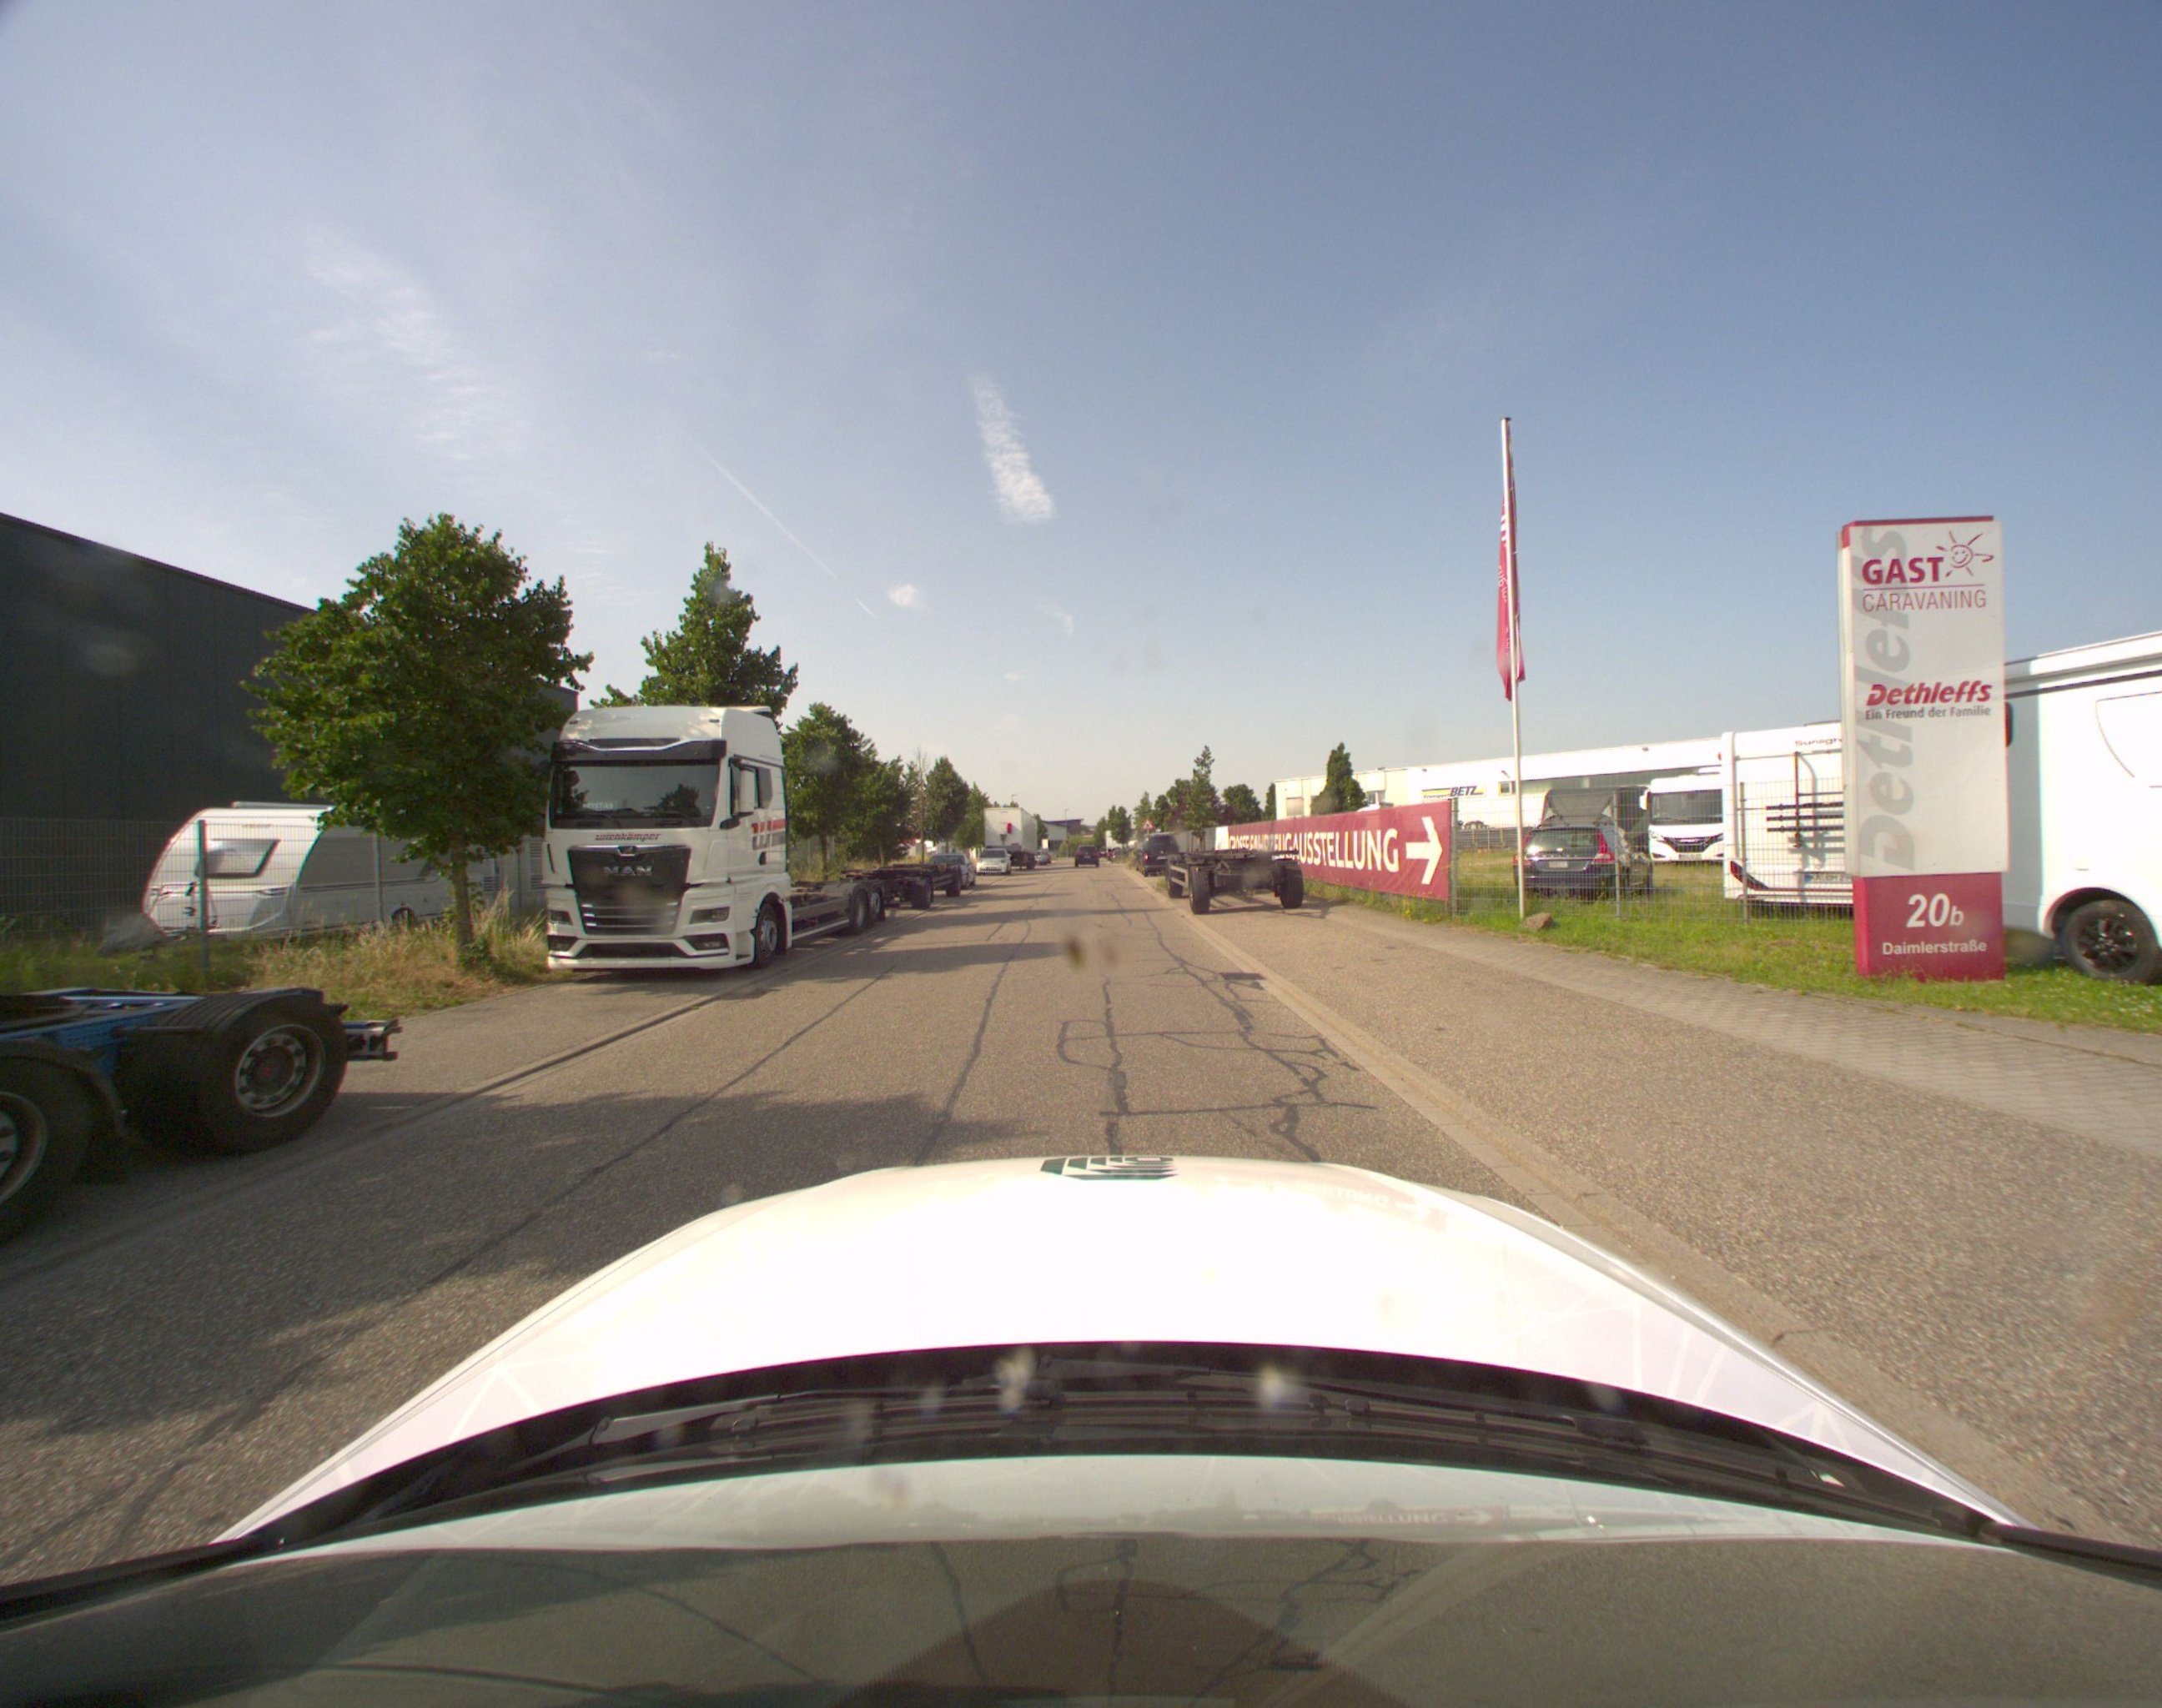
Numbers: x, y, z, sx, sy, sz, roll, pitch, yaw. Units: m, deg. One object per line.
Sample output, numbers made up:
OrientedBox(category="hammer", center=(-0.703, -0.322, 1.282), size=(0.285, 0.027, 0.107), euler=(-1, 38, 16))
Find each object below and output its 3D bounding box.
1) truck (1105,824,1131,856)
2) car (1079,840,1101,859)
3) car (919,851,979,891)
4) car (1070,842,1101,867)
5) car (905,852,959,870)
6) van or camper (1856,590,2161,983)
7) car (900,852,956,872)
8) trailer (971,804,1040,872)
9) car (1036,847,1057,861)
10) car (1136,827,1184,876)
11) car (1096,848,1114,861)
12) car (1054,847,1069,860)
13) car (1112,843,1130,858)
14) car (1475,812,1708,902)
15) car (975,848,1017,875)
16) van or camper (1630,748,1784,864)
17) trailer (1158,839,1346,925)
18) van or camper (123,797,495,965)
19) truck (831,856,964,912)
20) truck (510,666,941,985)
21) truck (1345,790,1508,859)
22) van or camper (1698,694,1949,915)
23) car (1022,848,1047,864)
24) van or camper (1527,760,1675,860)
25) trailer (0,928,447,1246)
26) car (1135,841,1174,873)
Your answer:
OrientedBox(category="truck", center=(4.528, -1.674, 99.944), size=(2.876, 3.586, 8.067), euler=(-3, 1, 2))
OrientedBox(category="car", center=(0.921, -0.477, 82.368), size=(1.985, 1.804, 4.004), euler=(-2, 1, 3))
OrientedBox(category="car", center=(-5.277, 0.639, 32.946), size=(1.880, 1.436, 3.996), euler=(-2, 0, -3))
OrientedBox(category="car", center=(0.316, -0.002, 63.837), size=(1.990, 1.804, 3.994), euler=(-3, 1, -4))
OrientedBox(category="car", center=(-12.188, 0.585, 66.727), size=(3.965, 1.340, 1.620), euler=(-2, 1, 7))
OrientedBox(category="van or camper", center=(9.146, -0.524, 5.295), size=(2.317, 2.943, 6.988), euler=(-2, 1, 9))
OrientedBox(category="car", center=(-12.055, 0.633, 64.117), size=(3.965, 1.340, 1.620), euler=(-2, 1, 7))
OrientedBox(category="trailer", center=(-5.298, -1.105, 60.349), size=(3.391, 4.340, 13.923), euler=(-2, 0, 1))
OrientedBox(category="car", center=(-4.126, -0.004, 97.855), size=(1.984, 1.523, 4.005), euler=(-2, 0, 4))
OrientedBox(category="car", center=(3.600, -0.140, 37.720), size=(1.811, 1.978, 4.003), euler=(-5, 1, 2))
OrientedBox(category="car", center=(3.551, 0.026, 120.756), size=(1.980, 1.772, 4.013), euler=(-2, 0, 12))
OrientedBox(category="car", center=(-2.800, -0.071, 116.727), size=(1.987, 1.772, 4.000), euler=(-2, 0, 0))
OrientedBox(category="car", center=(4.401, -0.429, 89.212), size=(1.811, 1.449, 3.804), euler=(-3, 1, 2))
OrientedBox(category="car", center=(9.923, 0.012, 15.806), size=(4.011, 1.476, 2.152), euler=(-3, 1, -29))
OrientedBox(category="car", center=(-4.777, 0.397, 46.234), size=(1.803, 1.427, 4.002), euler=(-2, 0, 2))
OrientedBox(category="van or camper", center=(19.860, -1.437, 25.618), size=(2.773, 3.083, 8.017), euler=(-1, 2, 45))
OrientedBox(category="trailer", center=(3.604, 0.462, 19.759), size=(2.614, 1.388, 9.455), euler=(-4, 1, 1))
OrientedBox(category="van or camper", center=(-13.995, 0.400, 15.370), size=(2.299, 2.560, 4.949), euler=(-2, 0, -2))
OrientedBox(category="truck", center=(-5.360, 0.812, 24.991), size=(2.516, 1.265, 6.527), euler=(-2, 1, 0))
OrientedBox(category="truck", center=(-5.576, -0.406, 16.669), size=(2.616, 3.928, 12.925), euler=(-2, 0, 2))
OrientedBox(category="truck", center=(21.863, -1.765, 51.998), size=(9.197, 3.972, 2.473), euler=(-1, 1, 44))
OrientedBox(category="van or camper", center=(12.218, -0.743, 13.412), size=(2.460, 2.751, 6.666), euler=(-1, 2, 44))
OrientedBox(category="car", center=(-4.853, 0.221, 85.465), size=(1.984, 1.523, 4.005), euler=(-2, 0, 4))
OrientedBox(category="van or camper", center=(18.322, -1.503, 28.503), size=(6.833, 3.083, 2.638), euler=(-3, 2, -43))
OrientedBox(category="trailer", center=(-5.833, 1.143, 3.177), size=(2.565, 1.100, 5.202), euler=(-2, 0, 0))
OrientedBox(category="car", center=(3.859, 0.109, 43.249), size=(1.811, 1.449, 3.804), euler=(-5, 1, 2))
